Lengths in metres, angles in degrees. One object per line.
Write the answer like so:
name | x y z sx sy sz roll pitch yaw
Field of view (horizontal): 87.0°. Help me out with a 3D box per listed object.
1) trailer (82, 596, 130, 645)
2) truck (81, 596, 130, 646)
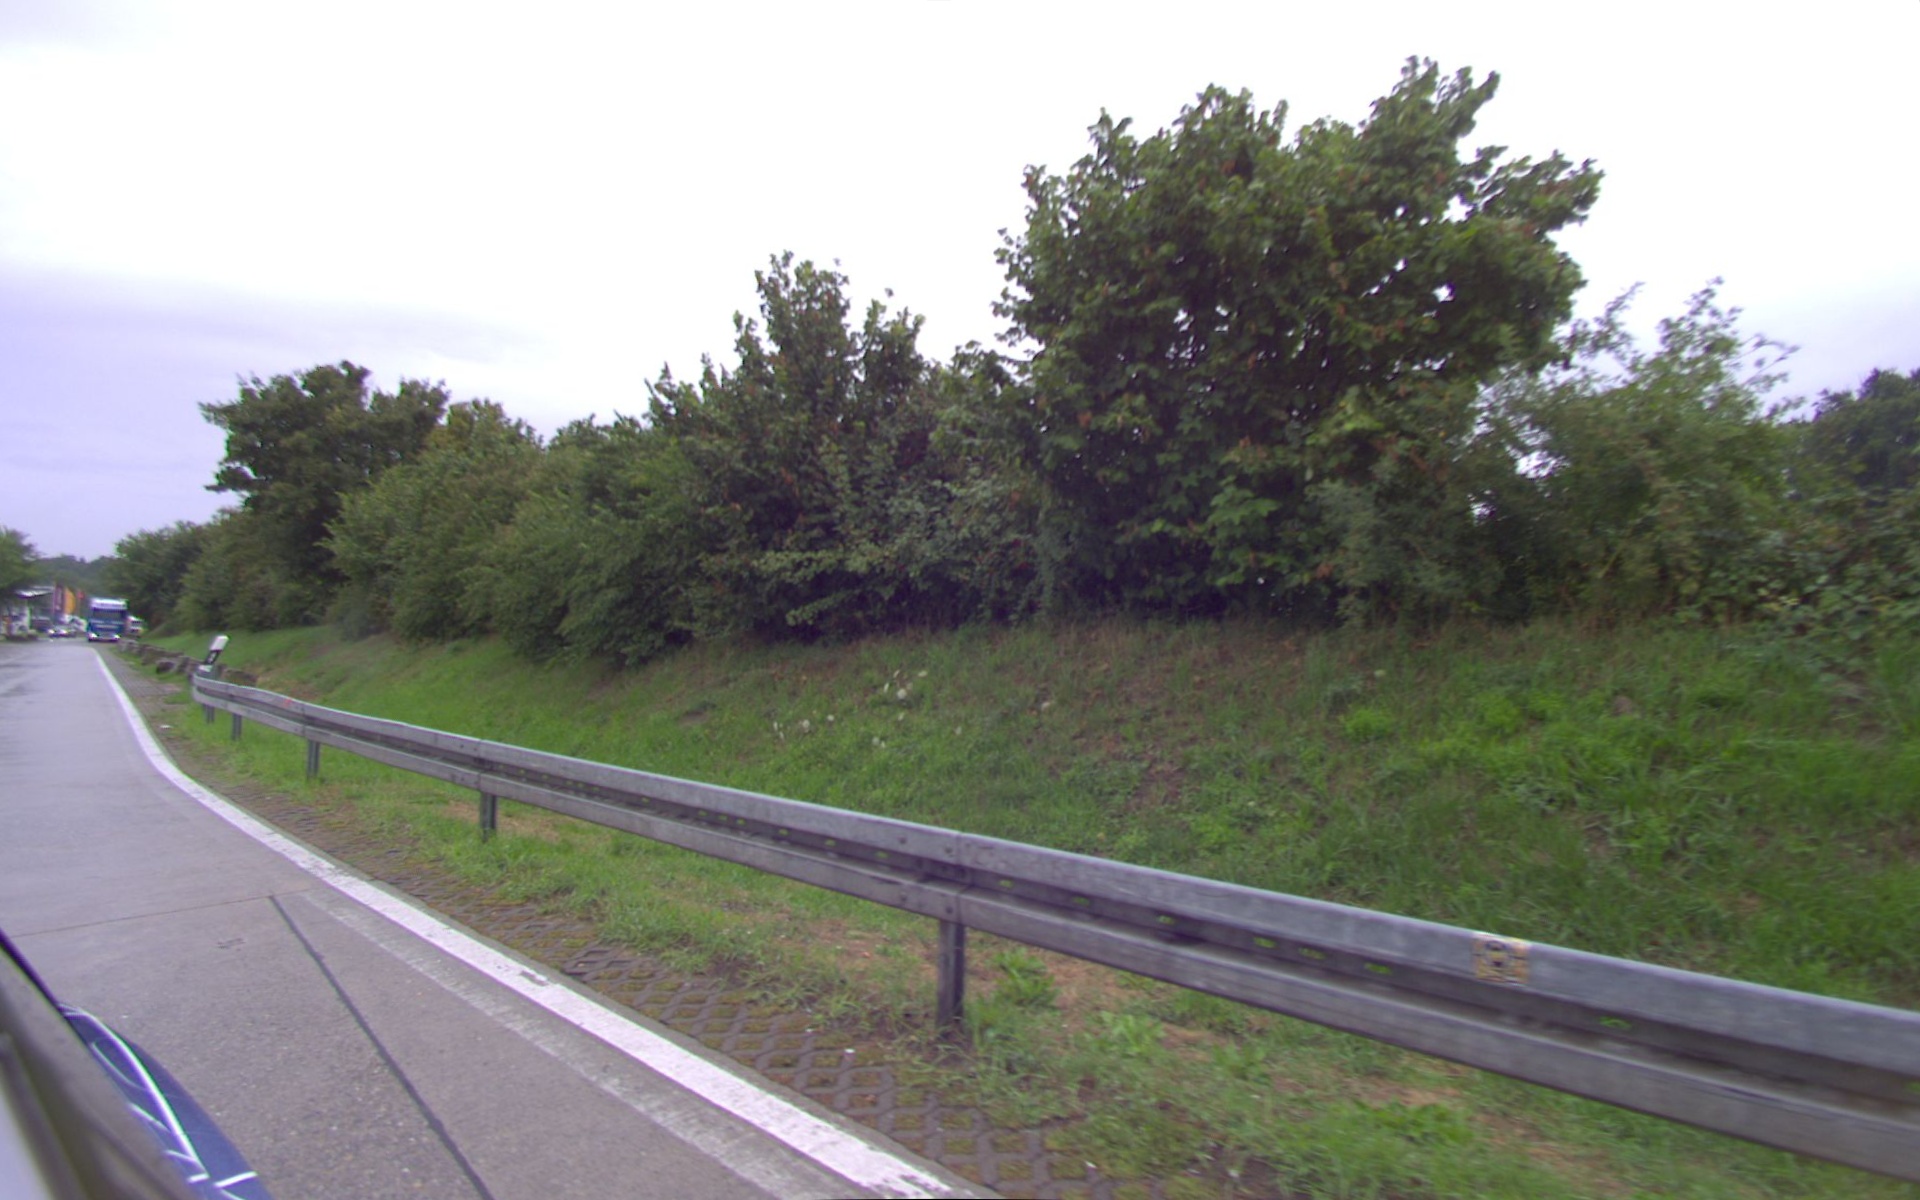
trailer | -82.454 2.011 97.584 3.195 4.420 13.785 2 -3 -41
truck | -78.184 1.952 92.597 3.195 4.420 6.323 2 -3 -41
